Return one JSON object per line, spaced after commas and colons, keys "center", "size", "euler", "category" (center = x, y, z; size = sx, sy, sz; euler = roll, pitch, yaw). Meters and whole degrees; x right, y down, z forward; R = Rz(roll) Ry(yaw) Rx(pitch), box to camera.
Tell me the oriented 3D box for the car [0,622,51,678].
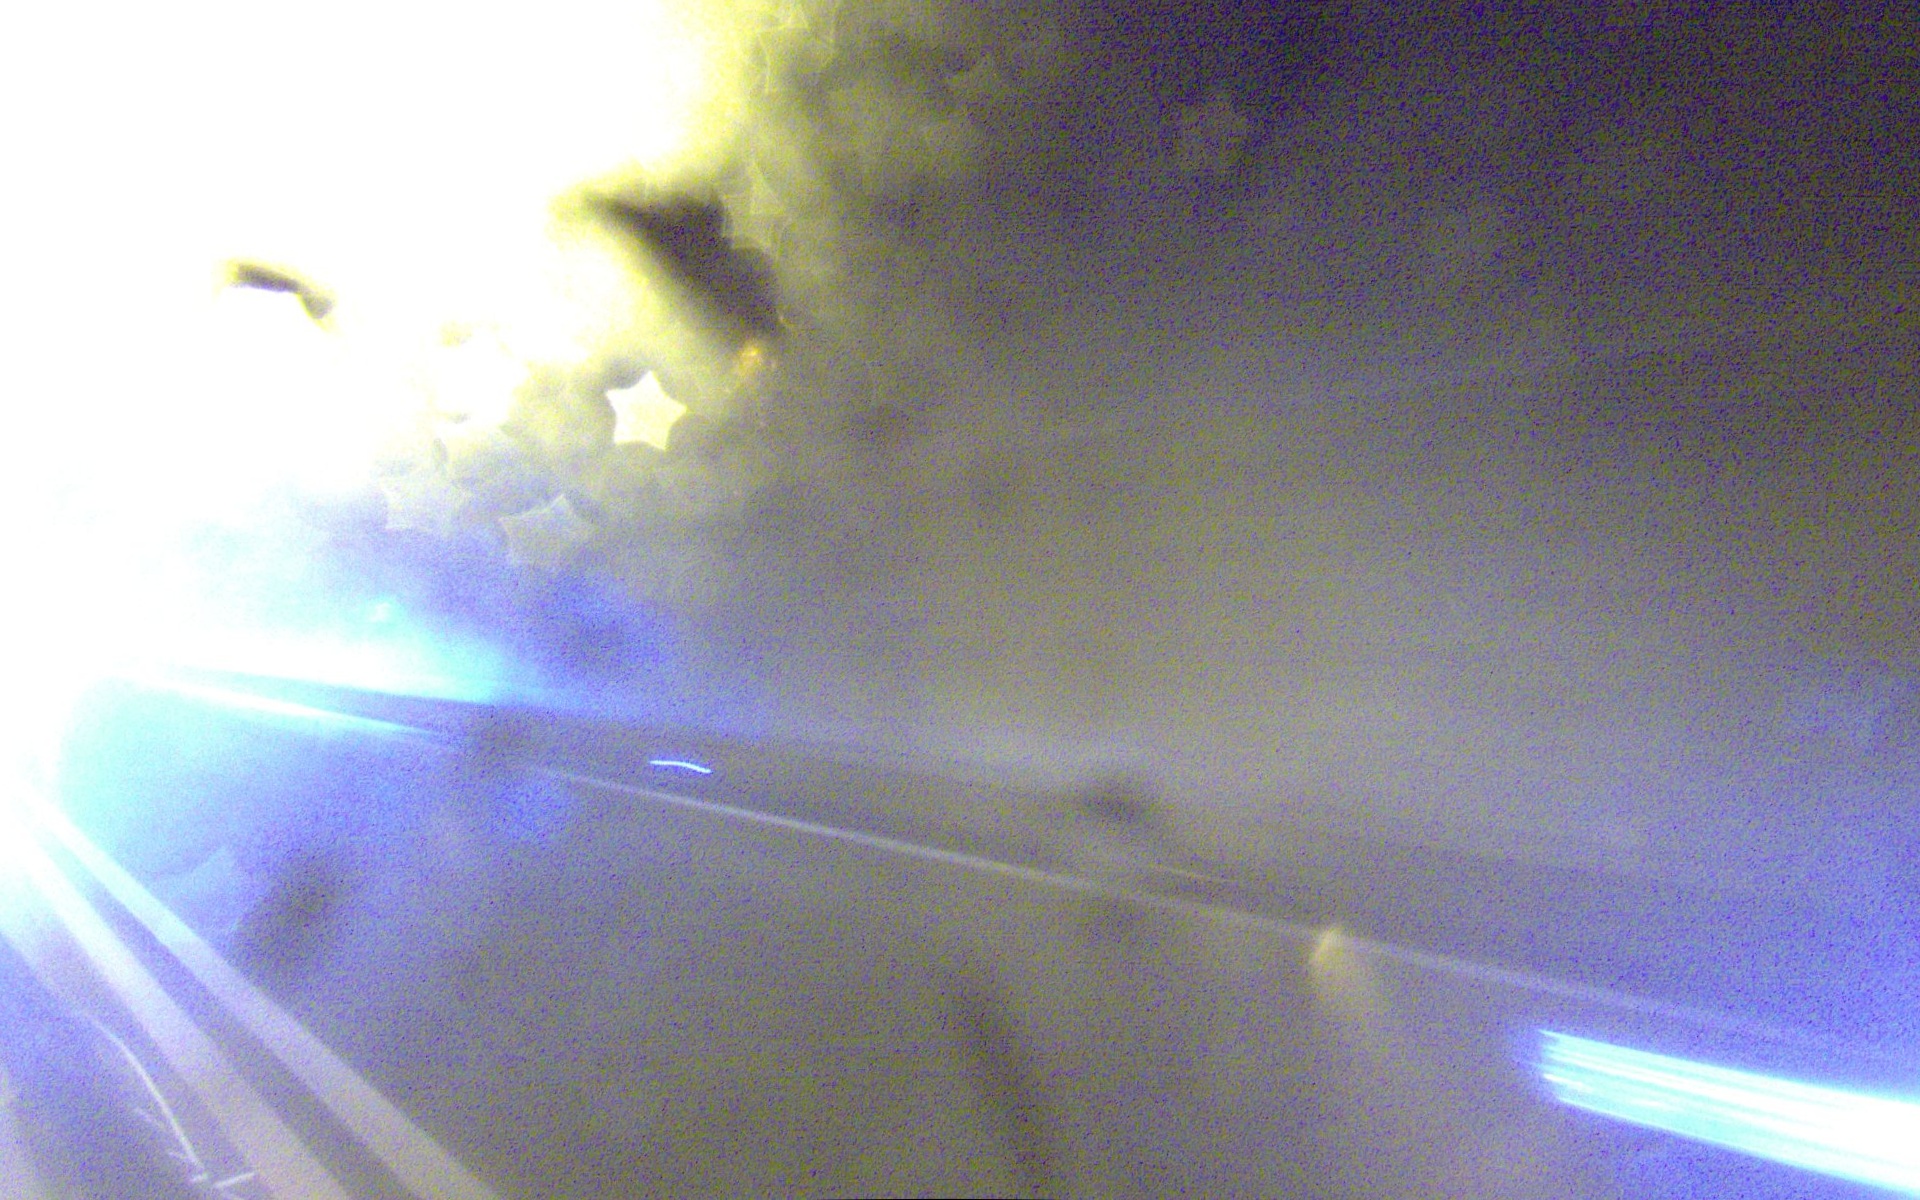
{"center": [-28.182, 1.444, 29.763], "size": [3.836, 1.504, 1.639], "euler": [-1, 1, 41], "category": "car"}
